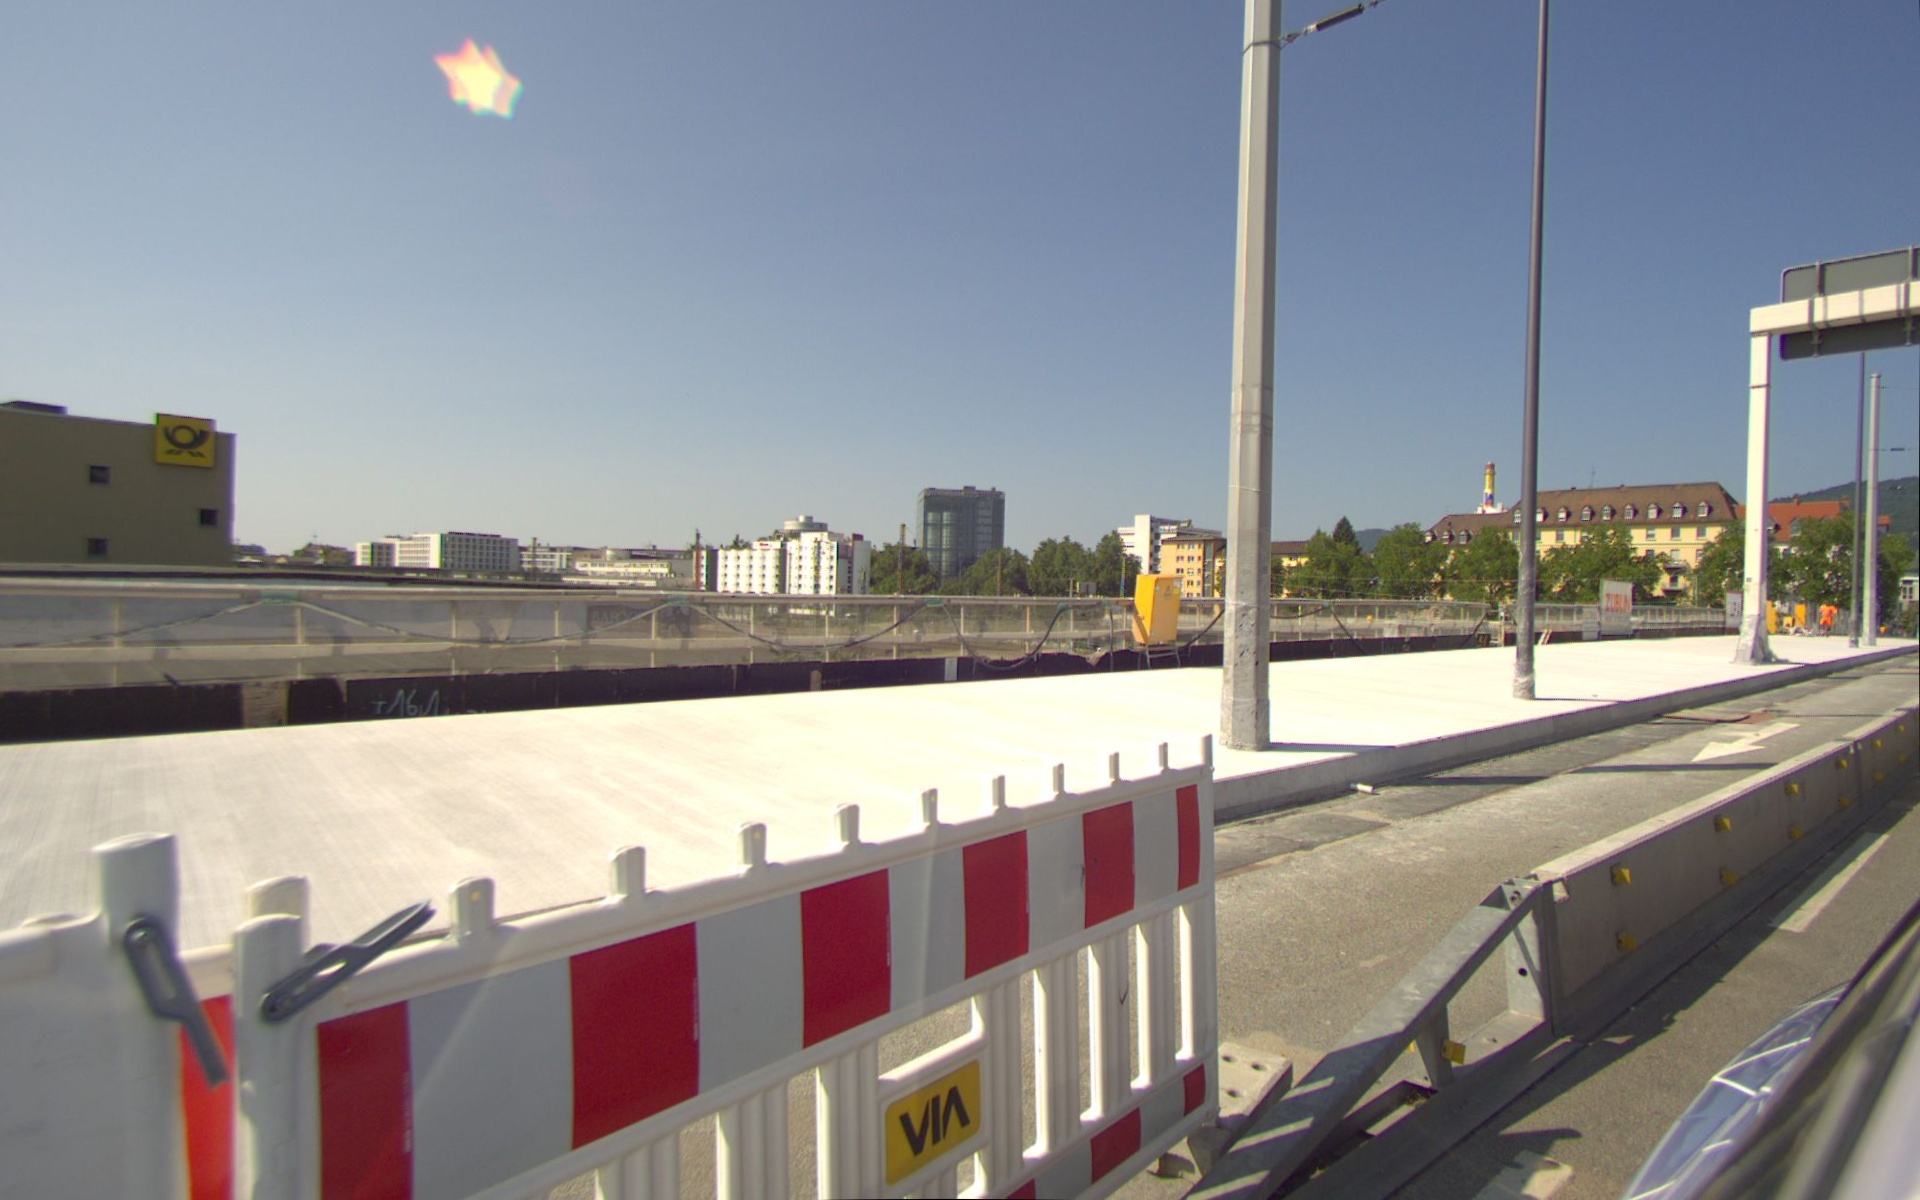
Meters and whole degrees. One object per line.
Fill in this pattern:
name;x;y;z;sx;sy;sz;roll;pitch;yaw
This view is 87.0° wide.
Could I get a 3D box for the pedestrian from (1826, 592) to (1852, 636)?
pedestrian;40.807;0.662;47.001;0.999;1.989;0.732;2;1;-43
